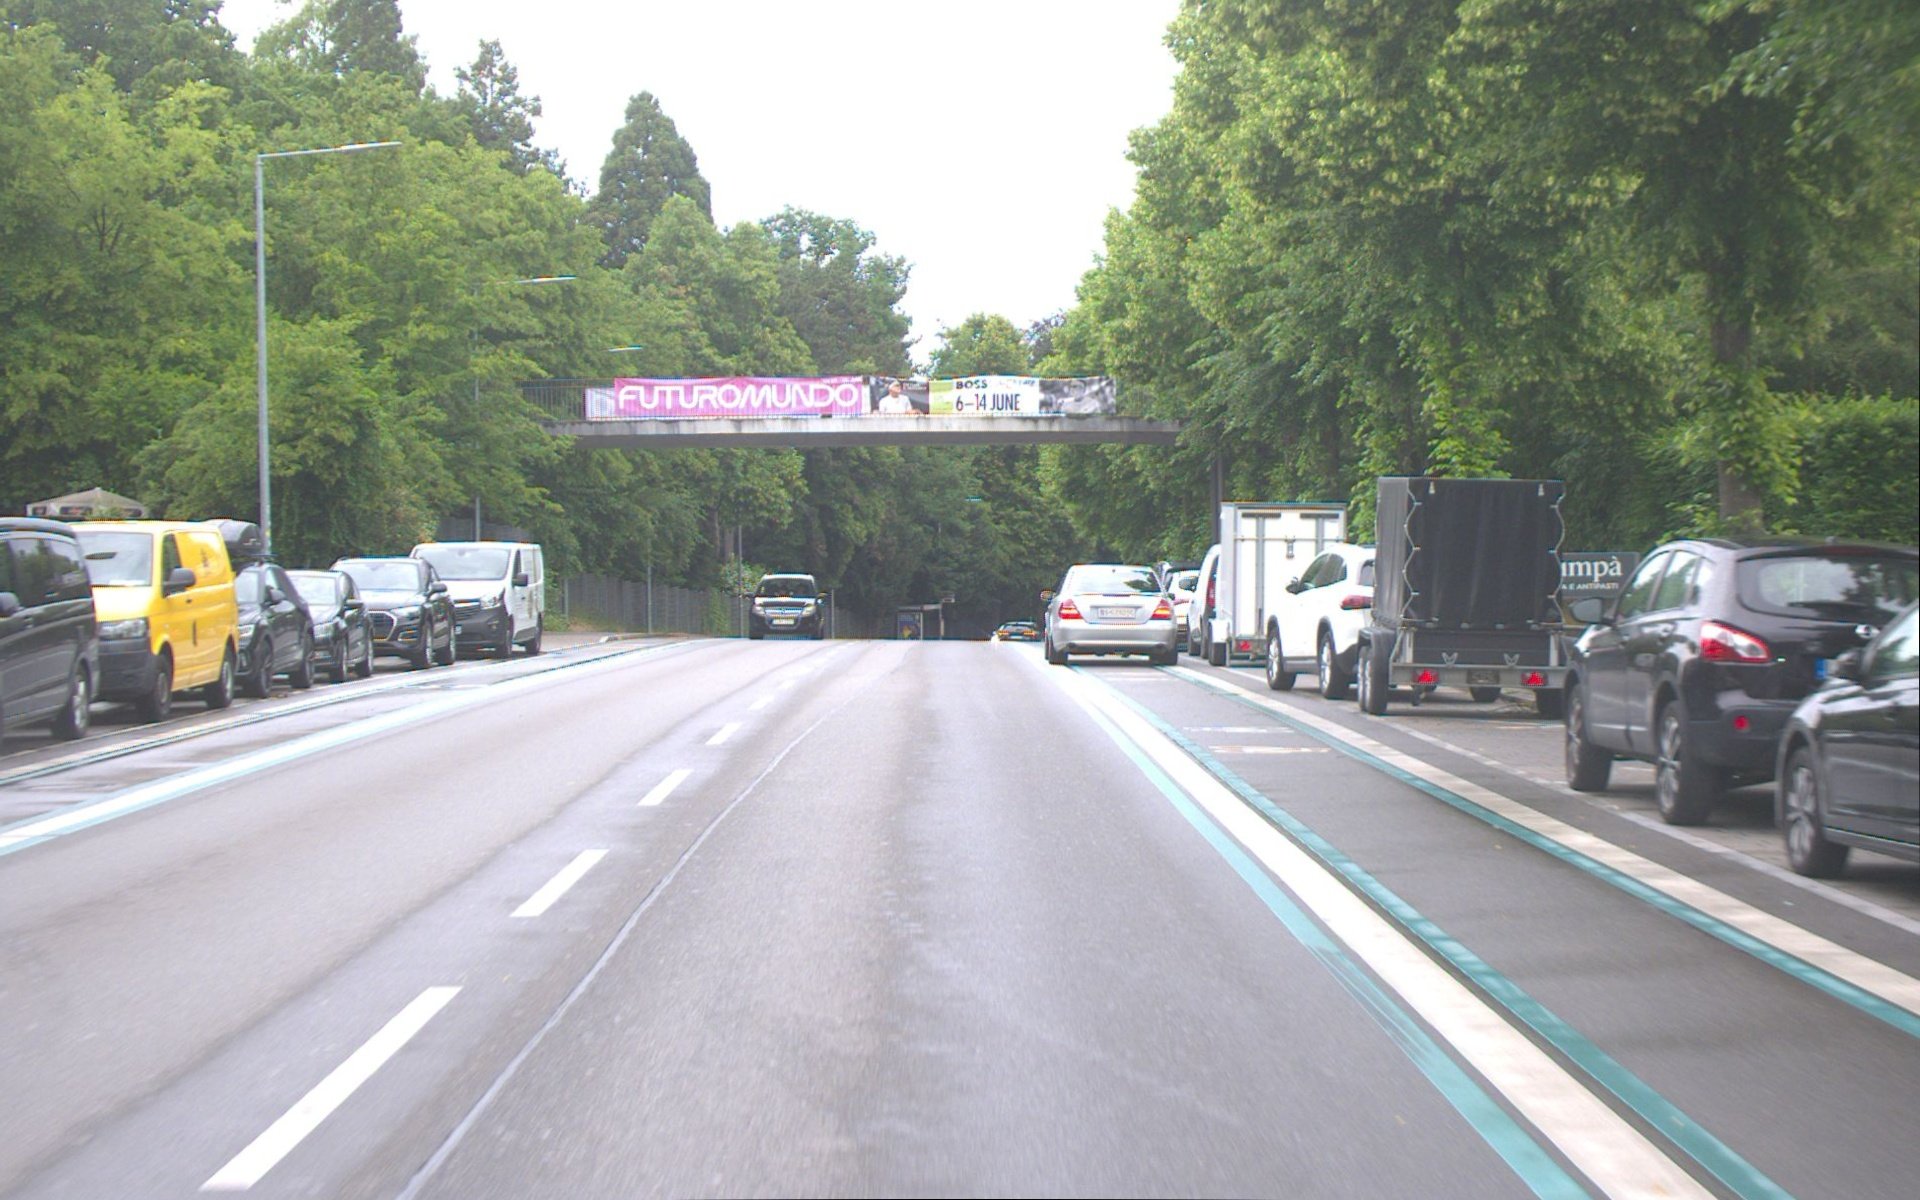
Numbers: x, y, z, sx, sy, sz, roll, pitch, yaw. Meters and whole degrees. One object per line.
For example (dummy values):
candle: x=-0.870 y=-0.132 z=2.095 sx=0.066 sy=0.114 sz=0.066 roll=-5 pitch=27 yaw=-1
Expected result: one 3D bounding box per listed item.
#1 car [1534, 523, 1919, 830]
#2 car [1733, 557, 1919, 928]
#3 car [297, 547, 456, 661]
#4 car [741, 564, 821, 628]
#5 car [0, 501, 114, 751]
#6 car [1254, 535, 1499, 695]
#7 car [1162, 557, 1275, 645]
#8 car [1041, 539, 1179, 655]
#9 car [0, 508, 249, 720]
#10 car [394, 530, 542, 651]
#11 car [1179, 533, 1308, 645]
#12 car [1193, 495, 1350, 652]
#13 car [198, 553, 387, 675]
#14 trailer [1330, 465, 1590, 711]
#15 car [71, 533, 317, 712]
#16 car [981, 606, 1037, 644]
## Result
car: x=4.654 y=0.371 z=20.058 sx=1.731 sy=1.578 sz=4.155 roll=1 pitch=1 yaw=-2
car: x=4.672 y=0.570 z=14.541 sx=1.731 sy=1.458 sz=4.073 roll=0 pitch=1 yaw=-2
car: x=-8.589 y=0.022 z=50.878 sx=1.870 sy=1.536 sz=4.055 roll=0 pitch=2 yaw=-3
car: x=-4.350 y=-0.117 z=83.346 sx=1.869 sy=1.468 sz=4.055 roll=-1 pitch=1 yaw=-3
car: x=-8.514 y=0.170 z=28.113 sx=1.990 sy=1.939 sz=5.142 roll=0 pitch=2 yaw=-1
car: x=4.338 y=0.113 z=36.372 sx=1.731 sy=1.578 sz=4.155 roll=-1 pitch=1 yaw=-5
car: x=4.556 y=-0.011 z=61.029 sx=1.731 sy=1.457 sz=4.045 roll=-1 pitch=1 yaw=1
car: x=2.118 y=-0.074 z=49.489 sx=1.731 sy=1.578 sz=4.037 roll=-1 pitch=1 yaw=-1
car: x=-8.490 y=0.067 z=34.373 sx=1.882 sy=1.938 sz=4.827 roll=0 pitch=2 yaw=-2
car: x=-8.300 y=-0.202 z=58.317 sx=1.757 sy=1.925 sz=4.193 roll=0 pitch=2 yaw=2
car: x=4.439 y=-0.204 z=54.268 sx=1.731 sy=1.678 sz=4.045 roll=-1 pitch=1 yaw=1
car: x=4.386 y=-0.398 z=48.915 sx=1.889 sy=2.120 sz=4.045 roll=-1 pitch=1 yaw=1
car: x=-8.672 y=0.147 z=44.959 sx=1.885 sy=1.446 sz=3.983 roll=0 pitch=2 yaw=-3
trailer: x=4.620 y=-0.142 z=32.253 sx=1.884 sy=2.158 sz=3.808 roll=-1 pitch=1 yaw=0
car: x=-8.717 y=0.206 z=39.457 sx=1.990 sy=1.886 sz=4.055 roll=0 pitch=2 yaw=-1
car: x=2.164 y=1.087 z=151.715 sx=2.140 sy=1.487 sz=4.498 roll=0 pitch=2 yaw=5
